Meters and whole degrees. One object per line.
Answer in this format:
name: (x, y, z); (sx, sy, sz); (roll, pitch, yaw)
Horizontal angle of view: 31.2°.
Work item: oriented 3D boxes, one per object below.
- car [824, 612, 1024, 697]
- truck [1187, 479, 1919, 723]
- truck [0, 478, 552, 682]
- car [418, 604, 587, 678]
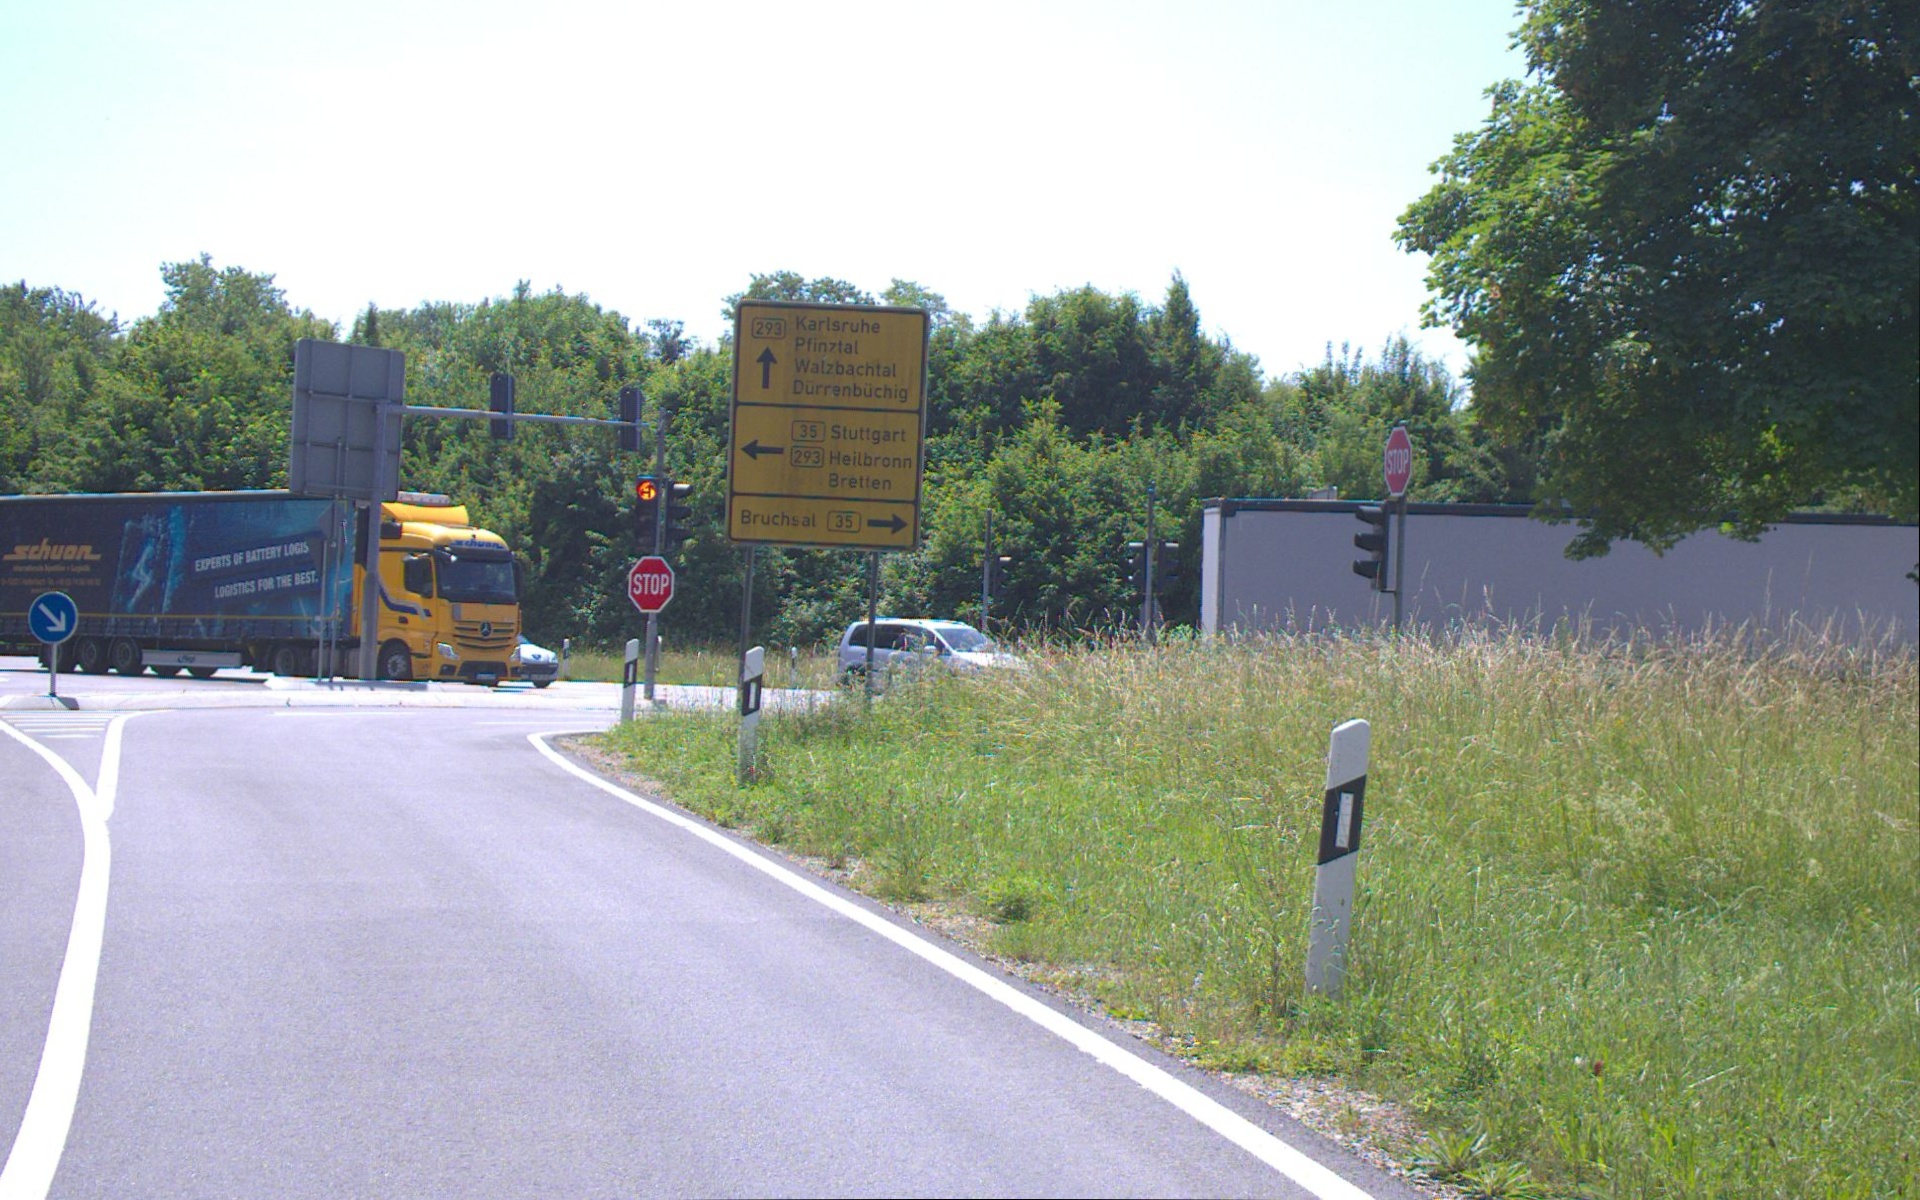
car: (-0.718, 1.019, 66.150); (3.687, 1.570, 1.721); (0, 0, 44)
truck: (12.705, 0.072, 63.963); (16.630, 4.159, 3.136); (1, -1, -2)
truck: (-15.902, -0.553, 76.028); (16.796, 4.117, 2.845); (2, -1, 40)
car: (-10.118, 0.893, 75.812); (3.912, 1.570, 1.655); (0, 0, 45)
